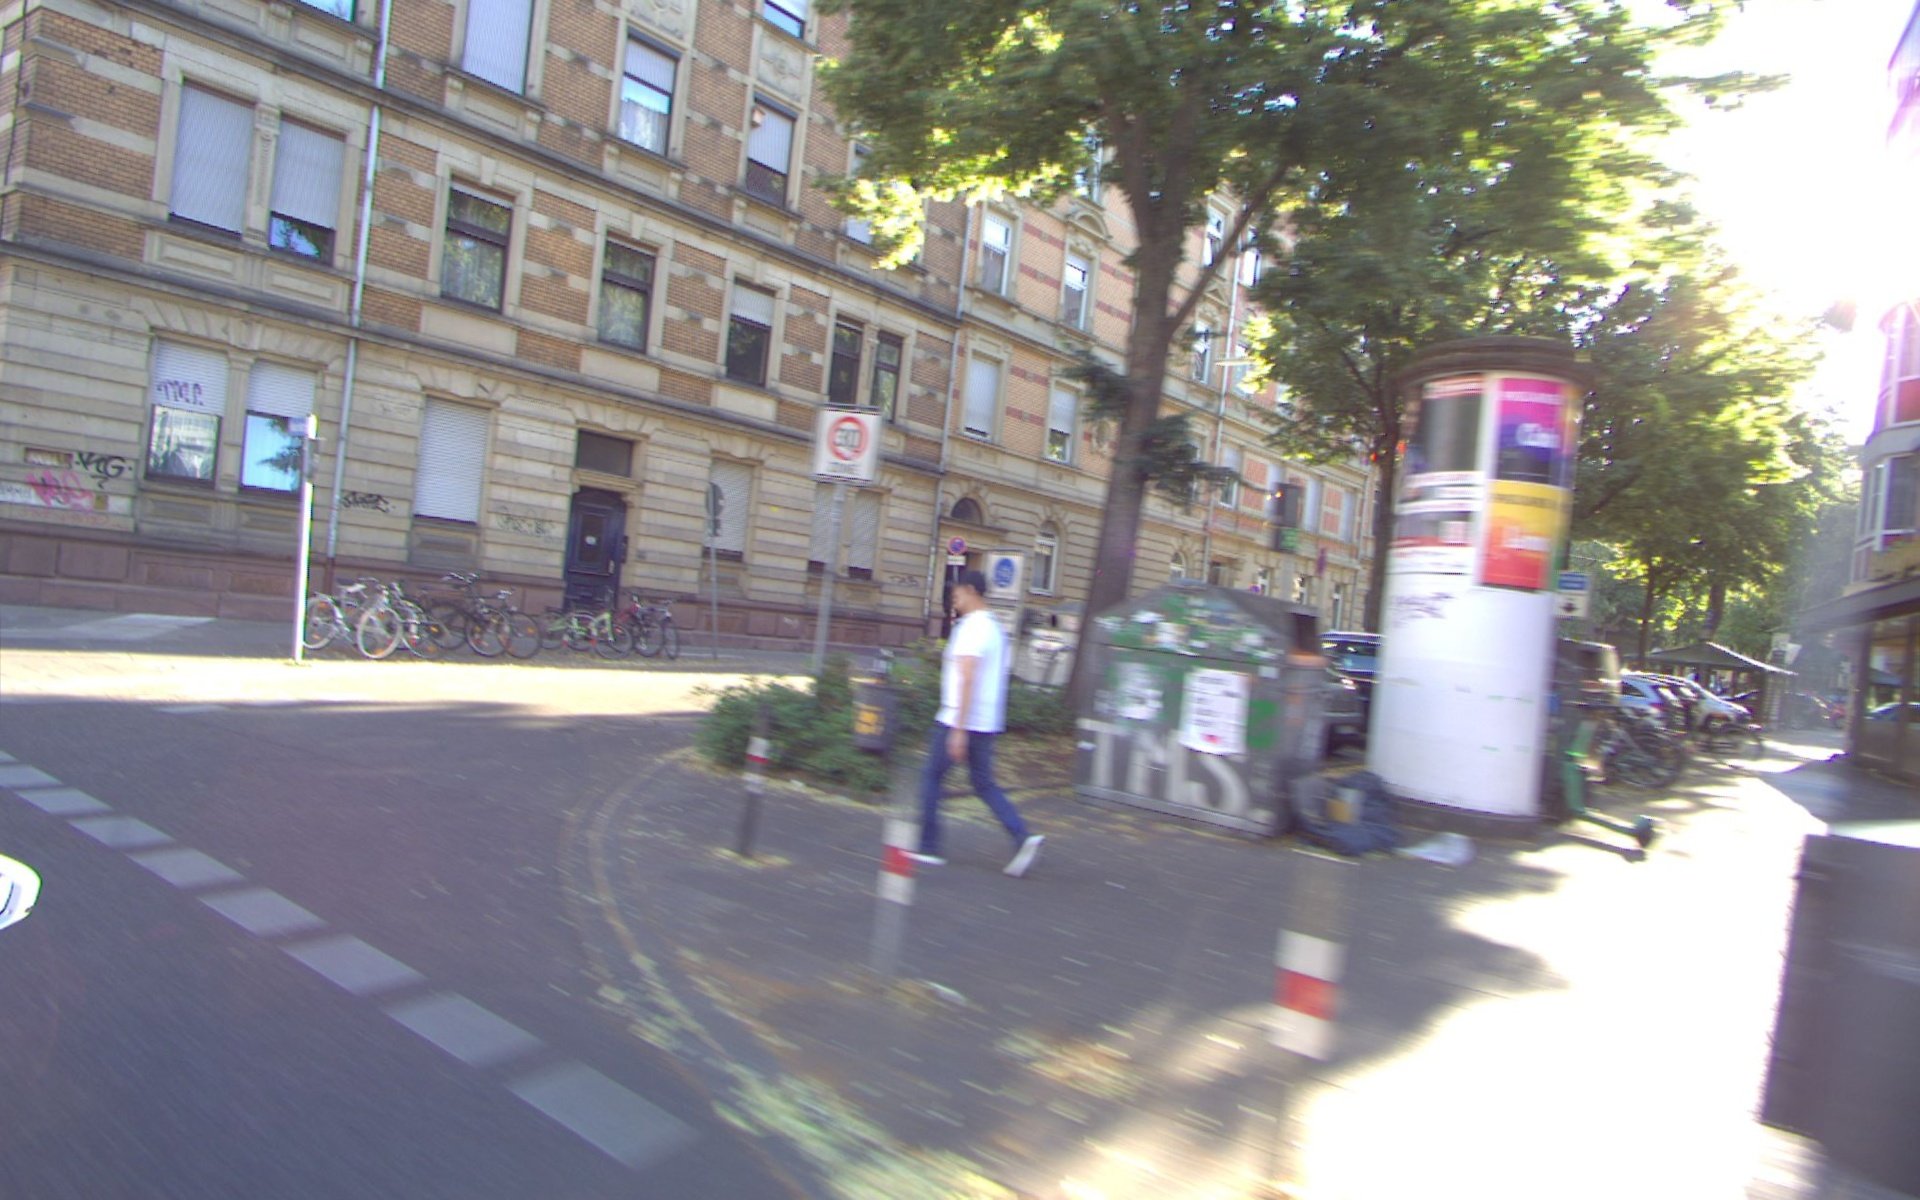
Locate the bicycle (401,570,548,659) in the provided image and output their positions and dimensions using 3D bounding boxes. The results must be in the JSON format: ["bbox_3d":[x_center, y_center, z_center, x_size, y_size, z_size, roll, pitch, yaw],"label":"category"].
[{"bbox_3d":[-6.907,0.205,14.320,1.871,1.037,0.497,7,0,11],"label":"bicycle"}]

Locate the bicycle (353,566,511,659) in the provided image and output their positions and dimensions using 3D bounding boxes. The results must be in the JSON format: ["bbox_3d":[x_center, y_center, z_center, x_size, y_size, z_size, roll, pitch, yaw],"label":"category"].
[{"bbox_3d":[-7.279,0.173,13.883,1.871,1.052,0.463,7,0,3],"label":"bicycle"}]

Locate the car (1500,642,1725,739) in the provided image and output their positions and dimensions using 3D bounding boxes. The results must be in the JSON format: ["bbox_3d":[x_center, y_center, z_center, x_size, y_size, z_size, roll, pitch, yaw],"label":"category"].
[{"bbox_3d":[17.362,2.366,26.956,1.960,1.962,4.589,8,-2,-41],"label":"car"}]

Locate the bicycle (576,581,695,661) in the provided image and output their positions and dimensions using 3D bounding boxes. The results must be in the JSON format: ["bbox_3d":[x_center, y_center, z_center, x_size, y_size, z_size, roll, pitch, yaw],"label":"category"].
[{"bbox_3d":[-5.570,0.360,17.263,1.871,1.137,0.405,7,0,11],"label":"bicycle"}]

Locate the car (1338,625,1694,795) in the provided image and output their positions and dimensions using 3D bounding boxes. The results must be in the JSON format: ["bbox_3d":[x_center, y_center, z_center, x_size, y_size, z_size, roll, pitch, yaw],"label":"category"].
[{"bbox_3d":[7.705,1.444,14.165,1.961,1.753,3.884,6,-1,-44],"label":"car"}]

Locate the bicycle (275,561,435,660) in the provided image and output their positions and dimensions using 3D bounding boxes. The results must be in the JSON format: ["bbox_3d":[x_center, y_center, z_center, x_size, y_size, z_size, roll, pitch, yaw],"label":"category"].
[{"bbox_3d":[-7.716,0.128,12.830,1.871,1.037,0.452,7,0,13],"label":"bicycle"}]

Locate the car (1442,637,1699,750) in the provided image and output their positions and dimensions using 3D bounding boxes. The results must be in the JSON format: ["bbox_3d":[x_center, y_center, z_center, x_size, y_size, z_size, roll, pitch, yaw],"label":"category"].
[{"bbox_3d":[14.022,2.105,23.328,1.959,1.962,4.591,8,-2,-40],"label":"car"}]

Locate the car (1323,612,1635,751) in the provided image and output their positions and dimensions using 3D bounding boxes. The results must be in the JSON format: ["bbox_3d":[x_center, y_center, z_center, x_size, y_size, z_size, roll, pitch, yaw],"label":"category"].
[{"bbox_3d":[10.061,1.514,19.875,1.891,2.074,4.994,8,-2,-40],"label":"car"}]

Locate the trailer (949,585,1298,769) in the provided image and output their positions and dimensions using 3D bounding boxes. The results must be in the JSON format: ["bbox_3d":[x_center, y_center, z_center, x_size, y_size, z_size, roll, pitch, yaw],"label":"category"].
[{"bbox_3d":[1.972,0.882,12.879,1.960,1.754,3.883,5,0,-44],"label":"trailer"}]

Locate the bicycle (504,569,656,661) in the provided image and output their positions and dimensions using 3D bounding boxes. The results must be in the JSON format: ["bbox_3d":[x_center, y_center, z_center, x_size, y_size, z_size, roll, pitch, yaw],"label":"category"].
[{"bbox_3d":[-5.973,0.236,15.866,2.066,1.197,0.616,7,0,5],"label":"bicycle"}]

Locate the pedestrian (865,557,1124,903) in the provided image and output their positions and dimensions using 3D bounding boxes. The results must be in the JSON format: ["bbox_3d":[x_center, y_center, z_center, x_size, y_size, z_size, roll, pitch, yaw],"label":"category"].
[{"bbox_3d":[0.200,0.683,5.730,1.016,1.686,0.784,8,1,32],"label":"pedestrian"}]

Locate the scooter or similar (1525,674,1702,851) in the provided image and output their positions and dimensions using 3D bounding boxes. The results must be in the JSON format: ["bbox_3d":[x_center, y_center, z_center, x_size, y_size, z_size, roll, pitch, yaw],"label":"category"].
[{"bbox_3d":[5.778,1.401,8.972,0.368,1.360,1.277,7,-2,-17],"label":"scooter or similar"}]

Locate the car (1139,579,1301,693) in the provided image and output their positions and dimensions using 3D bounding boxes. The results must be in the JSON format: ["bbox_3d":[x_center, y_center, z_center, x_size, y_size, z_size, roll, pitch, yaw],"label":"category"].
[{"bbox_3d":[7.233,1.051,27.656,1.948,2.548,4.850,5,-3,44],"label":"car"}]

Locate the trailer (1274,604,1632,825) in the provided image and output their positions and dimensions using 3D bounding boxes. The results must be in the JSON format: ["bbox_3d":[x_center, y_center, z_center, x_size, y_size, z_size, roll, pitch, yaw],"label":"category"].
[{"bbox_3d":[5.398,1.134,11.187,3.143,1.908,1.571,5,1,42],"label":"trailer"}]

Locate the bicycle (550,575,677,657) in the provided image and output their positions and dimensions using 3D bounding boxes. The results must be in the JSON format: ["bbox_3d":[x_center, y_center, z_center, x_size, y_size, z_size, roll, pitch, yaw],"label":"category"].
[{"bbox_3d":[-5.805,0.273,16.862,1.919,1.137,0.447,7,0,8],"label":"bicycle"}]

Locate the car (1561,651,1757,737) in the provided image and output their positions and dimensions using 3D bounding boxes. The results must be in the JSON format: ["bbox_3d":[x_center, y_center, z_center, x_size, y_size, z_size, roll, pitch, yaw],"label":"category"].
[{"bbox_3d":[21.295,2.832,30.752,4.579,1.962,1.964,5,-2,42],"label":"car"}]

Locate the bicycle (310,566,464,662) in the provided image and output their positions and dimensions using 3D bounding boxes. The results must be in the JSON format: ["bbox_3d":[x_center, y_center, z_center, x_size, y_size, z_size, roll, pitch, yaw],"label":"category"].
[{"bbox_3d":[-7.506,0.178,13.180,1.871,1.037,0.418,7,0,13],"label":"bicycle"}]
